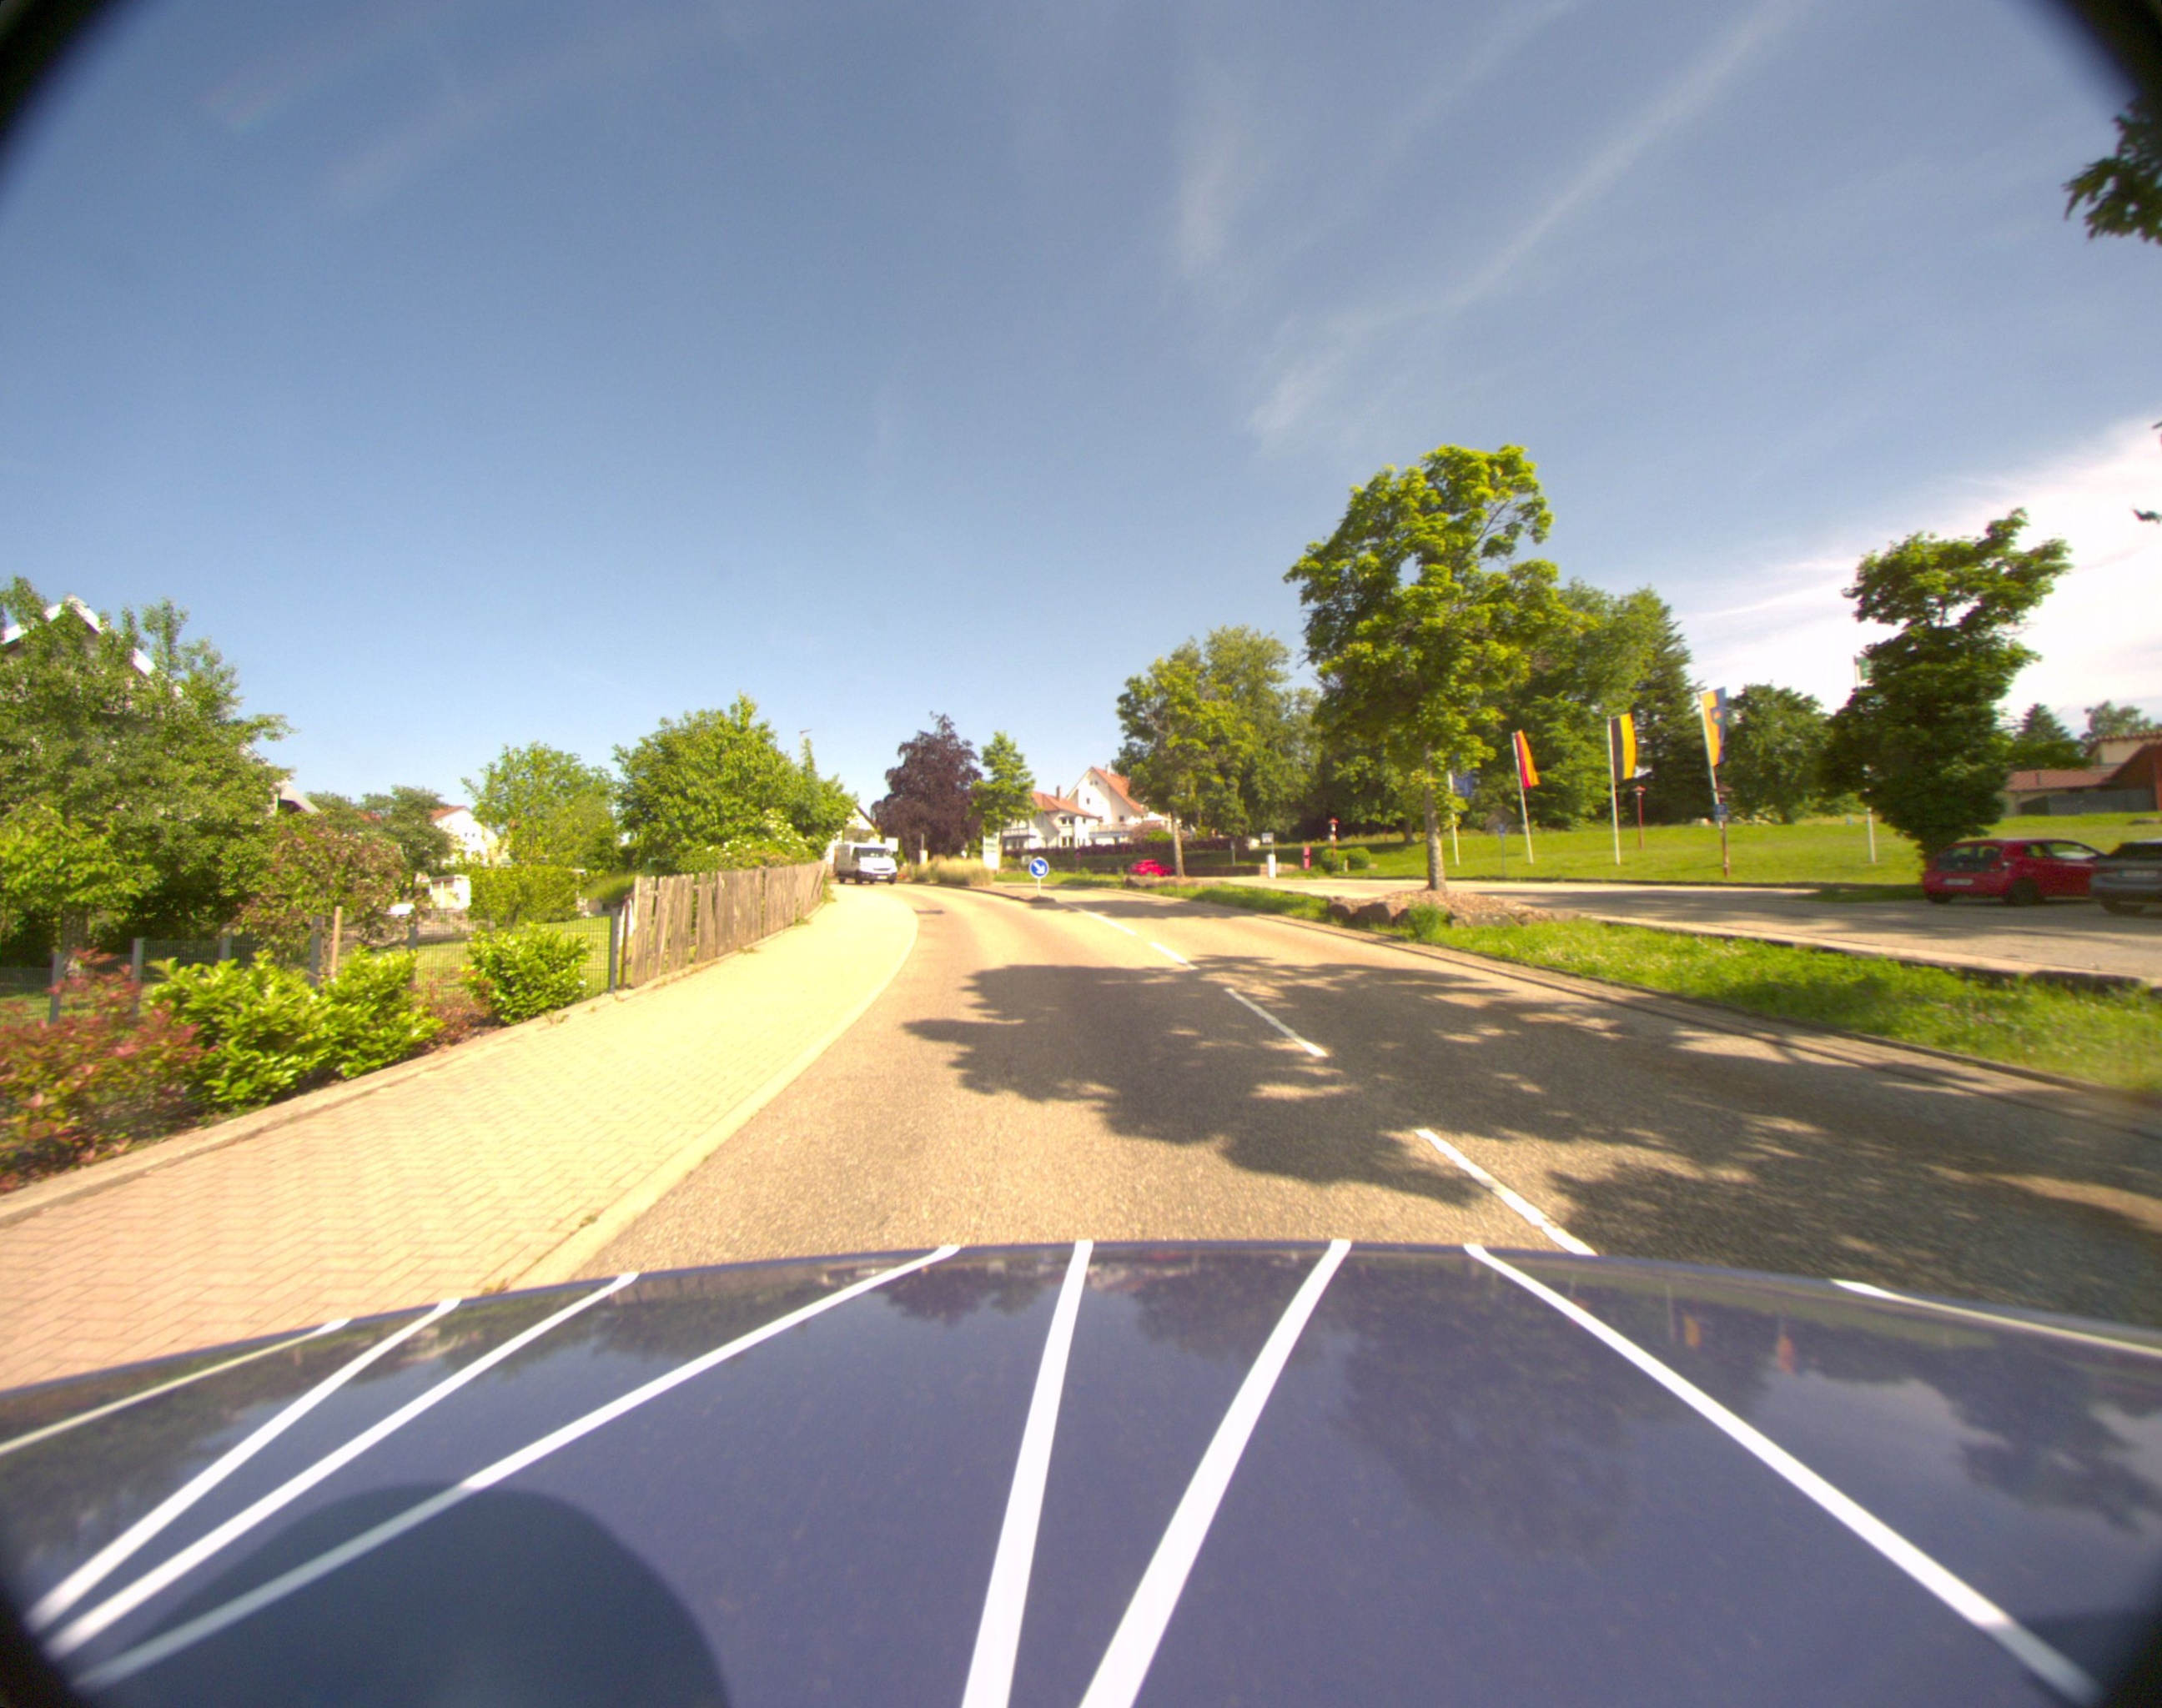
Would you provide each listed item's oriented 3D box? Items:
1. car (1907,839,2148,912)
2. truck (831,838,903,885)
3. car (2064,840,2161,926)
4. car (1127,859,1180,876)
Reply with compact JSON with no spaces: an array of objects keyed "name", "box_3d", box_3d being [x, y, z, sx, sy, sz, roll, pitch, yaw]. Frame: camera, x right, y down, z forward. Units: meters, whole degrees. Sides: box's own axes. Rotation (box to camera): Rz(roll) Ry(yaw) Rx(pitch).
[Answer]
[{"name":"car","box_3d":[20.986,0.455,16.953,3.206,1.462,1.776,-2,0,-2]},{"name":"truck","box_3d":[-12.144,0.497,42.705,2.003,2.328,6.480,-3,0,-32]},{"name":"car","box_3d":[20.221,0.455,13.226,3.709,1.425,1.777,-2,0,4]},{"name":"car","box_3d":[6.071,1.119,63.369,4.247,1.390,1.819,0,-1,-38]}]
